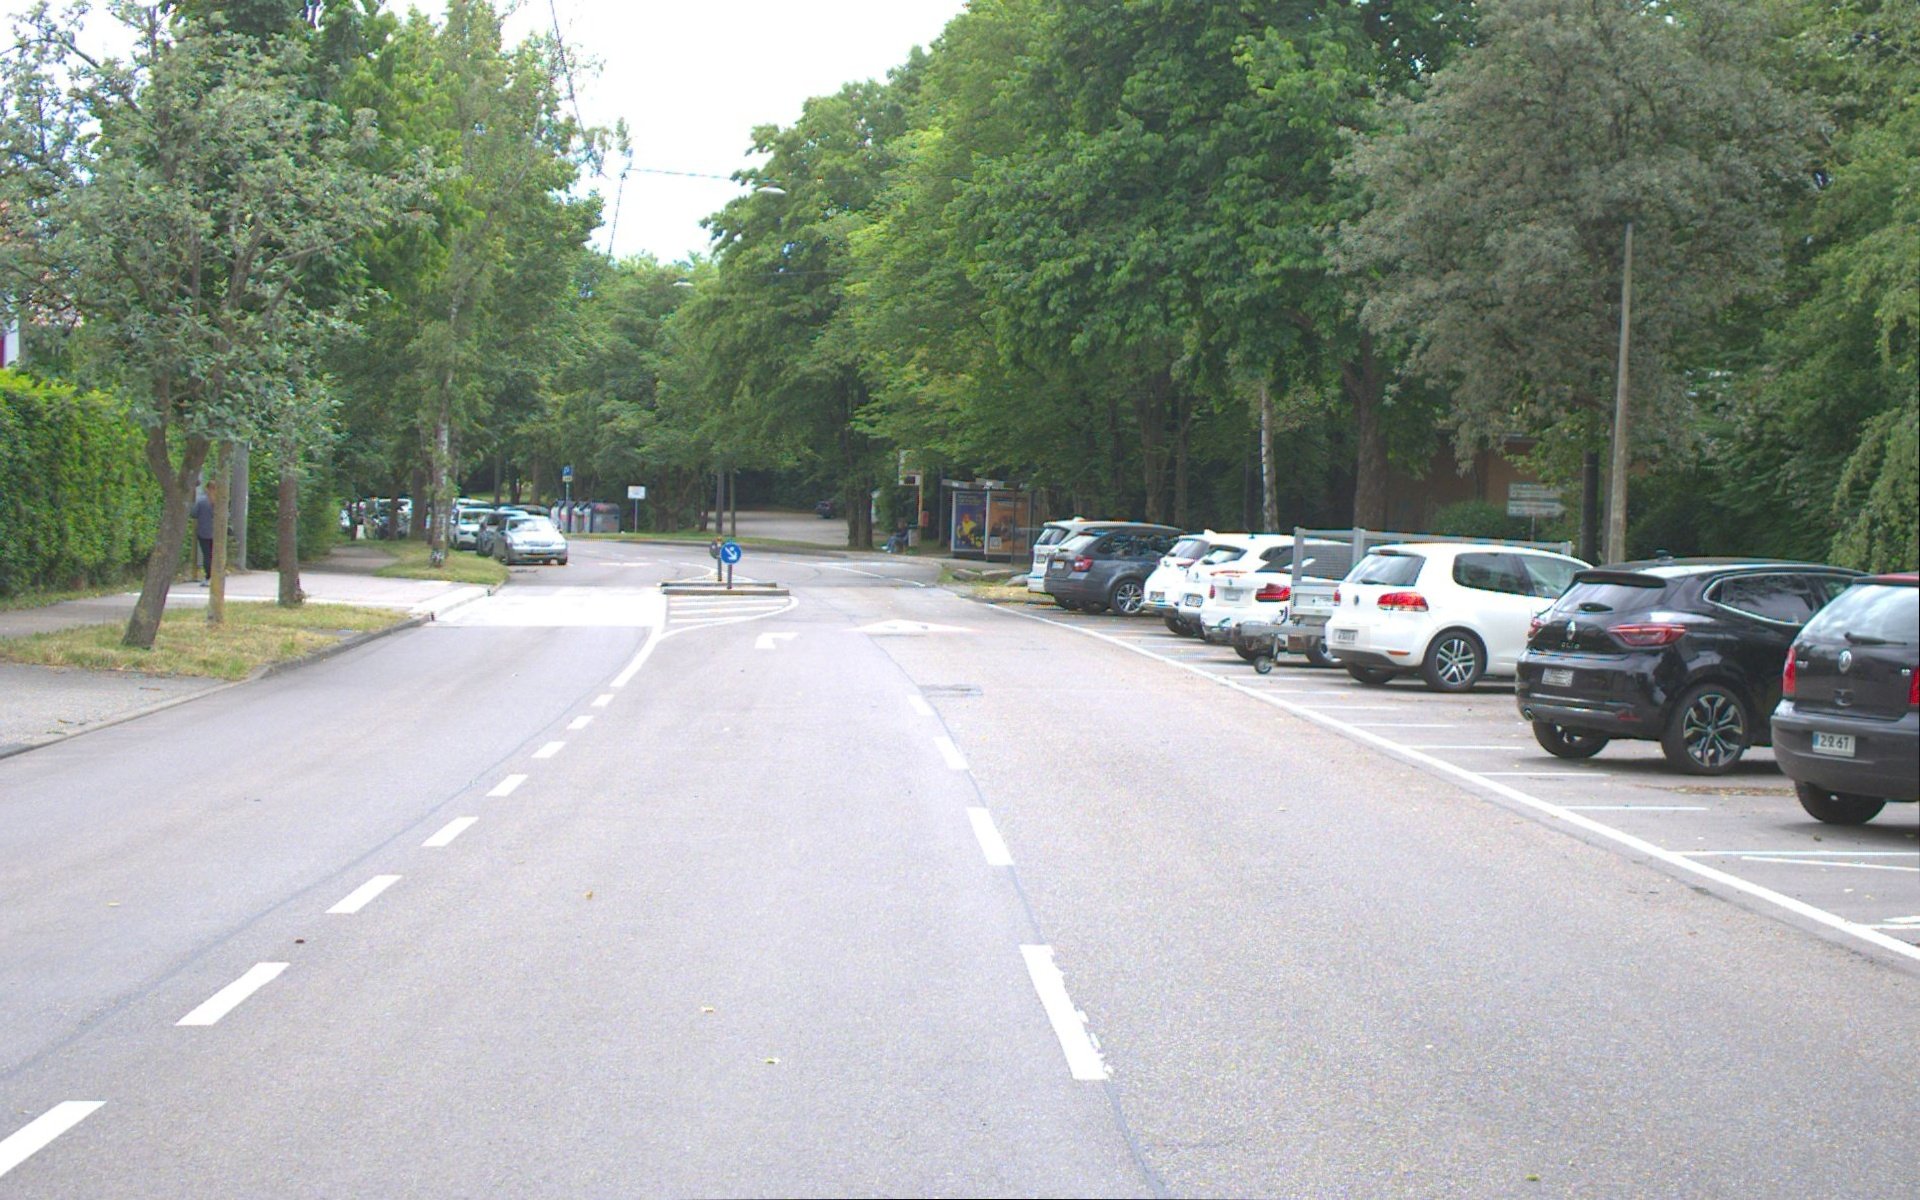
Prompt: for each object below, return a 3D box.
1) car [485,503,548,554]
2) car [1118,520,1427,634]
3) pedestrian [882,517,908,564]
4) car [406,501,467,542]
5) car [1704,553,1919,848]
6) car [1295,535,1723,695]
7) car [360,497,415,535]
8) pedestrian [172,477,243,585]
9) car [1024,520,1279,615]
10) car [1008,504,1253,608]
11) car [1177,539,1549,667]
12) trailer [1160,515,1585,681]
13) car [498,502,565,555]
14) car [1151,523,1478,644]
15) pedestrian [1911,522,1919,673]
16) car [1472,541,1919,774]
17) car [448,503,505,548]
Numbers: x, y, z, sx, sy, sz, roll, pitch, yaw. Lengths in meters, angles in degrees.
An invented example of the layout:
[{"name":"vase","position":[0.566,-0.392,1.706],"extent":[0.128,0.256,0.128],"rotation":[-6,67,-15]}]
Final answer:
[{"name":"car","position":[-13.629,-2.208,105.596],"extent":[1.866,1.466,4.001],"rotation":[1,1,-8]},{"name":"car","position":[4.366,-0.325,48.157],"extent":[3.883,1.424,1.744],"rotation":[2,1,-20]},{"name":"pedestrian","position":[-2.182,-2.018,115.759],"extent":[0.741,1.564,0.651],"rotation":[2,1,10]},{"name":"car","position":[-19.558,-2.934,128.326],"extent":[1.866,1.466,4.002],"rotation":[1,1,-14]},{"name":"car","position":[6.286,0.570,18.810],"extent":[3.883,1.444,1.845],"rotation":[2,1,-20]},{"name":"car","position":[5.573,0.147,34.944],"extent":[3.883,1.444,1.744],"rotation":[2,1,-22]},{"name":"car","position":[-22.951,-3.369,137.819],"extent":[1.866,1.466,4.002],"rotation":[1,1,-14]},{"name":"pedestrian","position":[-12.182,-1.120,55.662],"extent":[0.974,1.724,0.849],"rotation":[1,1,-4]},{"name":"car","position":[3.229,-0.558,58.106],"extent":[3.883,1.424,1.744],"rotation":[2,1,-20]},{"name":"car","position":[3.015,-0.779,60.932],"extent":[3.883,1.662,1.744],"rotation":[2,1,-20]},{"name":"car","position":[4.668,0.032,39.802],"extent":[3.883,1.305,1.744],"rotation":[2,1,-25]},{"name":"trailer","position":[4.447,-0.022,37.110],"extent":[4.153,1.568,1.712],"rotation":[2,1,-19]},{"name":"car","position":[-12.486,-2.089,100.025],"extent":[1.866,1.466,4.001],"rotation":[1,1,-8]},{"name":"car","position":[4.690,-0.217,45.585],"extent":[3.883,1.424,1.744],"rotation":[2,1,-20]},{"name":"pedestrian","position":[10.985,-0.021,38.188],"extent":[0.649,1.665,0.743],"rotation":[2,1,5]},{"name":"car","position":[5.728,0.403,23.805],"extent":[3.883,1.444,1.845],"rotation":[2,1,-24]},{"name":"car","position":[-16.482,-2.568,117.394],"extent":[1.866,1.466,4.001],"rotation":[1,1,-8]}]
